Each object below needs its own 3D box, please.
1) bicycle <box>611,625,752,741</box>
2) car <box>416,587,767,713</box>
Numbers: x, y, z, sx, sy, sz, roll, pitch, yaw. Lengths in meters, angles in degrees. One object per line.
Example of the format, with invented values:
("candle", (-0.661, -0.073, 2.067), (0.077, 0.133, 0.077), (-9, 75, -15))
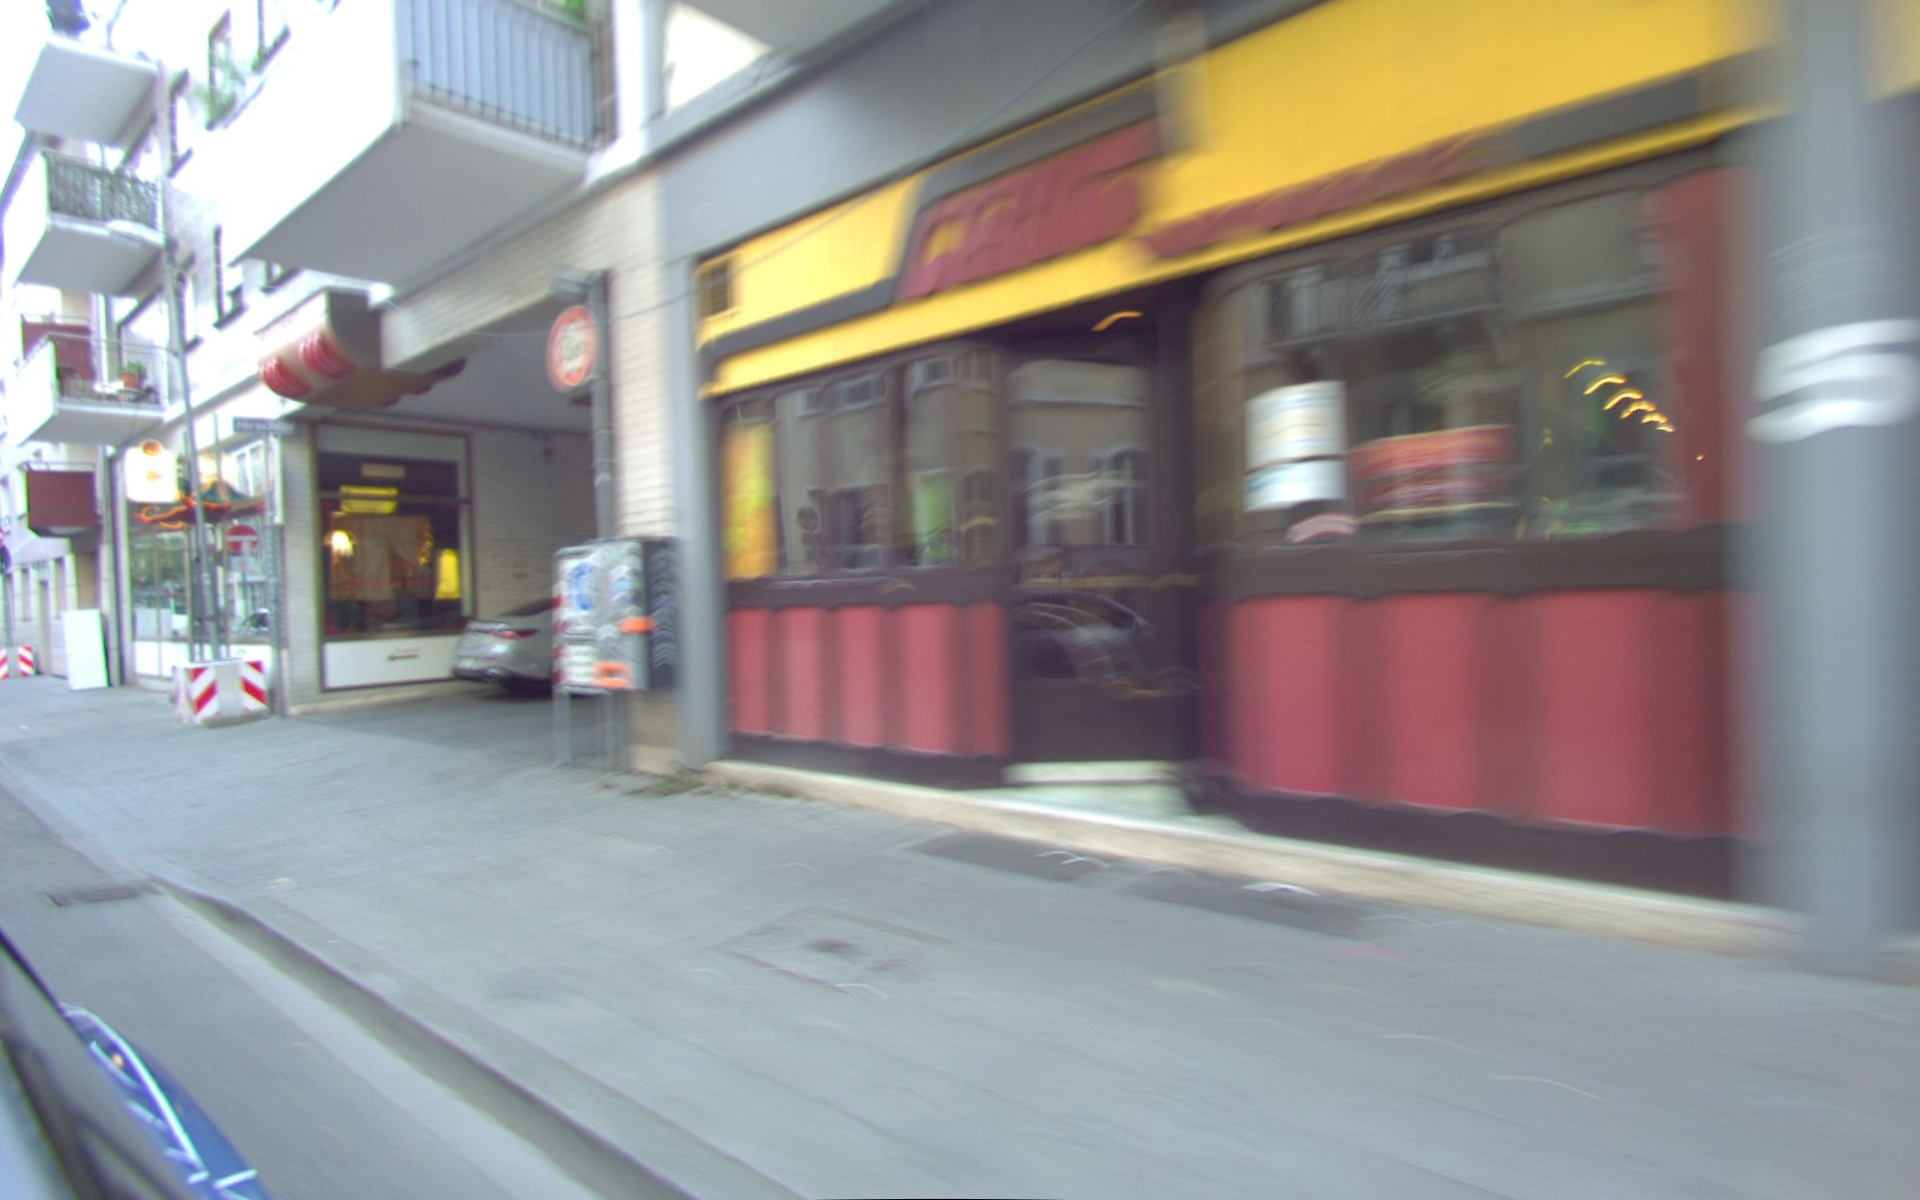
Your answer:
("bicycle", (-2.558, 0.747, 9.211), (1.500, 0.968, 0.374), (-4, -1, 38))
("car", (-5.118, 0.617, 14.536), (2.018, 1.432, 4.273), (-2, 0, 39))
